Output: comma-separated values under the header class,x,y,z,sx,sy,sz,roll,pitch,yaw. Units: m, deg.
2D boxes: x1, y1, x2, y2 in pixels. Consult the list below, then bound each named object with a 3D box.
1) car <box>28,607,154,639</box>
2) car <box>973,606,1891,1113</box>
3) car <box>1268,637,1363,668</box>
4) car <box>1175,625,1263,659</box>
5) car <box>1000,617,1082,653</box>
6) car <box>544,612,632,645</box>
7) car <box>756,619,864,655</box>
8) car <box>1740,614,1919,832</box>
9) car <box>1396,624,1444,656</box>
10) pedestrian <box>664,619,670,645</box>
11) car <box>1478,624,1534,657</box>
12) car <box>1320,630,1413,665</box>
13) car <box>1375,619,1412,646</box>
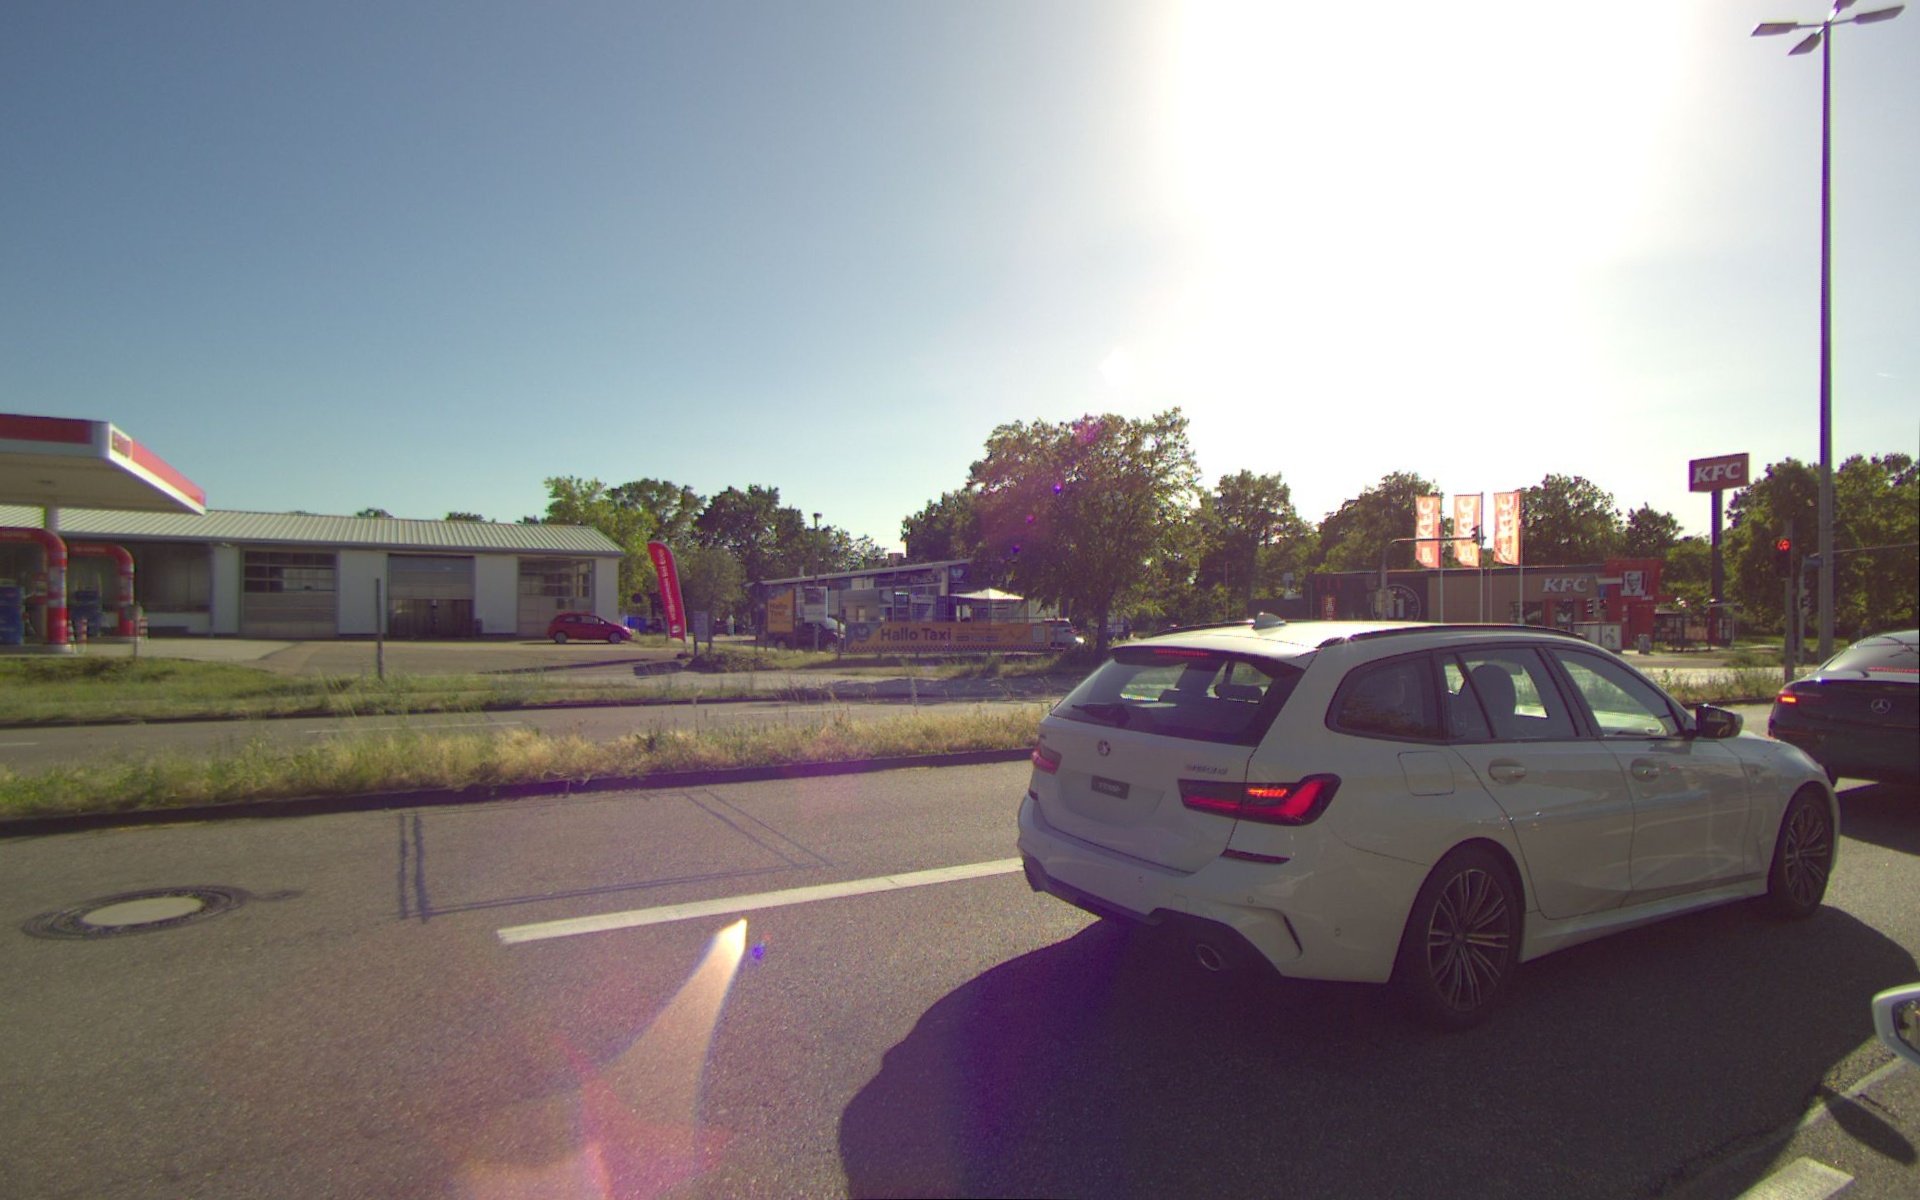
class,x,y,z,sx,sy,sz,roll,pitch,yaw
car,-36.348,0.974,42.131,3.688,1.203,1.667,2,0,-30
car,2.472,0.820,4.924,4.541,1.506,1.804,1,-1,-30
car,17.022,2.484,48.229,1.850,1.268,4.062,2,0,-31
car,13.955,2.238,54.447,1.914,1.600,4.599,2,0,-31
car,3.577,1.553,45.137,1.973,1.461,3.975,2,0,-25
car,-18.274,1.408,49.339,3.949,1.491,1.521,2,0,-24
car,-5.848,1.420,39.095,3.930,1.193,1.774,2,0,31
car,8.816,0.946,8.668,4.491,1.572,1.803,1,0,-31
car,28.055,2.412,61.389,1.896,1.763,4.099,2,0,14
pedestrian,-17.581,1.899,60.244,0.299,1.531,0.318,1,0,-6
car,32.695,2.387,60.238,1.896,1.763,4.099,2,0,14
car,20.115,2.335,49.880,1.913,1.472,3.935,2,0,-30
car,31.526,2.313,73.169,1.960,1.837,3.774,2,0,16
